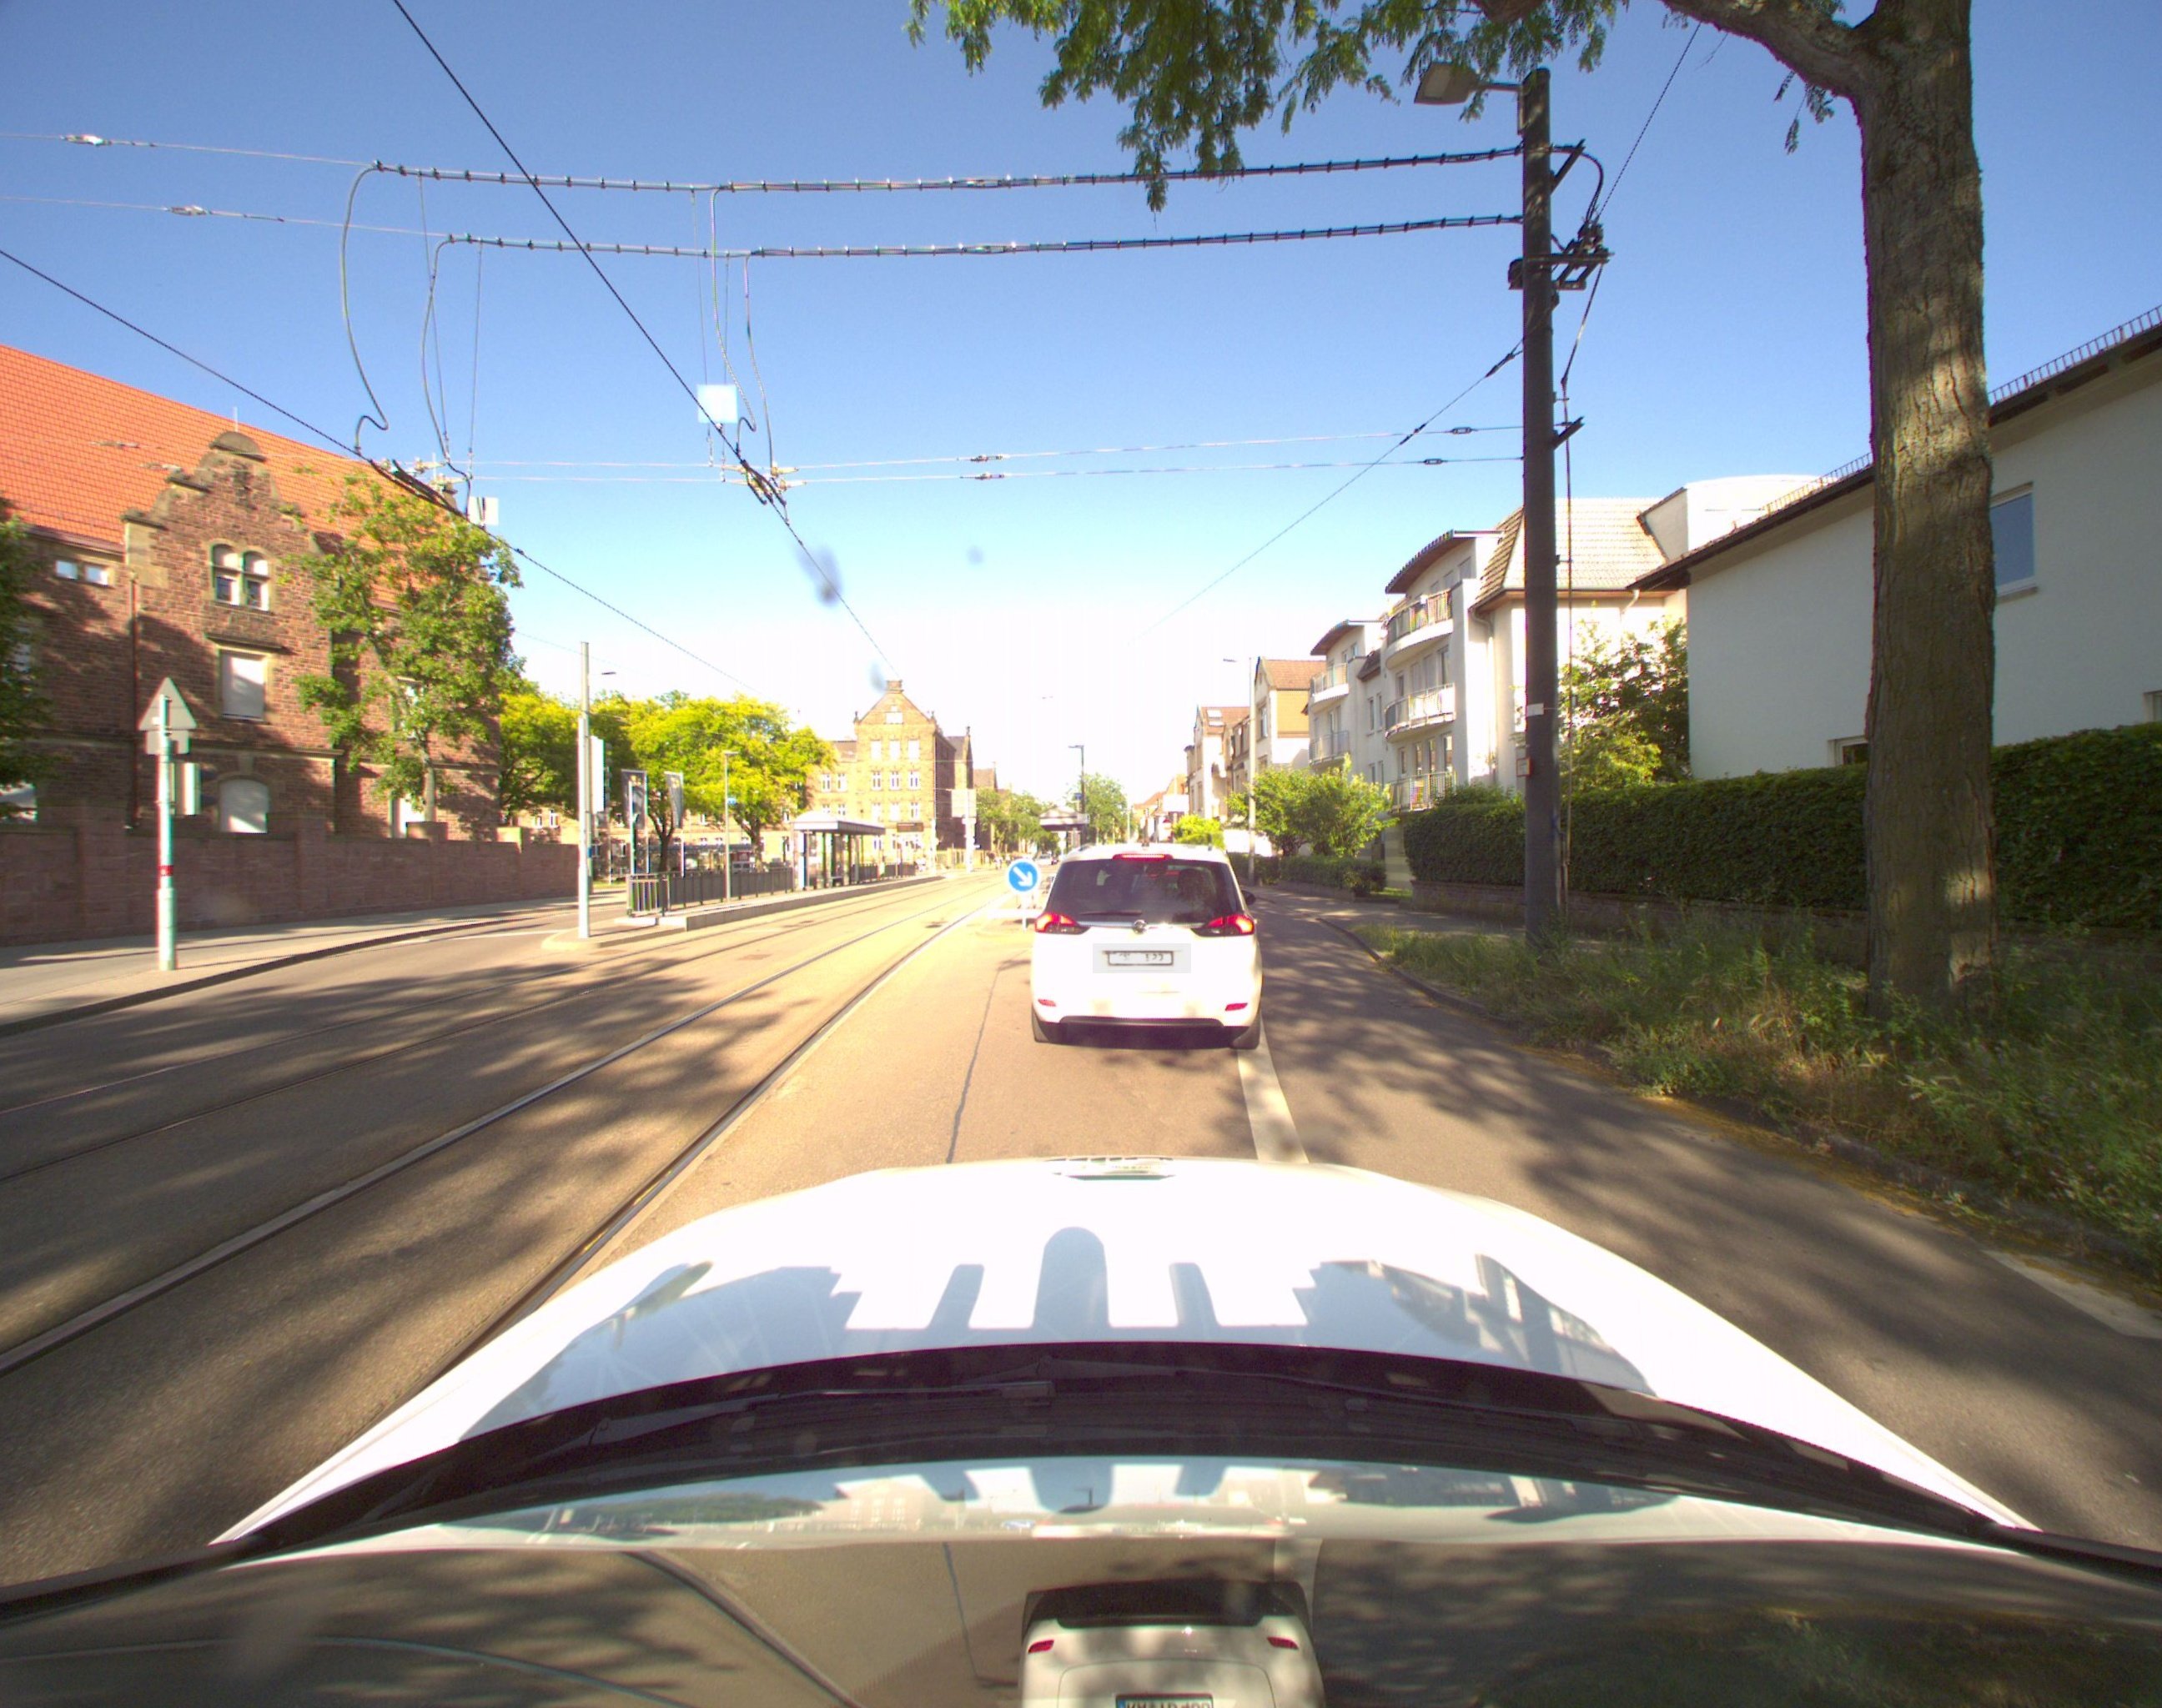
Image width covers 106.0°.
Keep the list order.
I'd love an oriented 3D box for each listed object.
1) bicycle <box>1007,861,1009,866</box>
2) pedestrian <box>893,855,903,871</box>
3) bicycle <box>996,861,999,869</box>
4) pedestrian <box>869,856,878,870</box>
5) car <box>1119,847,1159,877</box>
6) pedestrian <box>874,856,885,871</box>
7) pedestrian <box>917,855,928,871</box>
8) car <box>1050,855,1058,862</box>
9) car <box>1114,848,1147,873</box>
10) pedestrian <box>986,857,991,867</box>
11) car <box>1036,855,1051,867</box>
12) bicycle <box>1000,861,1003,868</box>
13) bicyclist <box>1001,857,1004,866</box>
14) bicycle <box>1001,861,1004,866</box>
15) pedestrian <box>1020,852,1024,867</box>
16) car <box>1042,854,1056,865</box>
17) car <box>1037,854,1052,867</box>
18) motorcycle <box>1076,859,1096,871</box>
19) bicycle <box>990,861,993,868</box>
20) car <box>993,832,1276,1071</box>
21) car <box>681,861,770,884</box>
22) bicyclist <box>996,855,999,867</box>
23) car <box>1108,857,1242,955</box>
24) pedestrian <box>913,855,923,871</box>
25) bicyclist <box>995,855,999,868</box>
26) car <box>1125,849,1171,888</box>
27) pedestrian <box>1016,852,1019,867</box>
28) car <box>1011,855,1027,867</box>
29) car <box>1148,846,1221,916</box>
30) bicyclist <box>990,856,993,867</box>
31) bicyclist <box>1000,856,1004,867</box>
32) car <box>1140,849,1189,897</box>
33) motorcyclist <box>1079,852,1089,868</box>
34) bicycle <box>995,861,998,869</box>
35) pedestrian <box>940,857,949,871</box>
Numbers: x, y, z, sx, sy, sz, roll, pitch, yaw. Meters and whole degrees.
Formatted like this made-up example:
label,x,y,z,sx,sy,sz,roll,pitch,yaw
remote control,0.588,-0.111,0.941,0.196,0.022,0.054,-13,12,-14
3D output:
label,x,y,z,sx,sy,sz,roll,pitch,yaw
bicycle,-10.404,1.400,116.073,0.343,0.725,0.996,0,-1,-1
pedestrian,-19.333,0.949,86.160,0.799,1.588,0.934,0,-1,-1
bicycle,-10.998,1.437,107.069,0.343,0.950,0.996,0,-1,-1
pedestrian,-22.820,1.003,89.589,0.930,1.588,0.803,0,-1,-6
car,3.130,0.409,44.379,1.986,1.503,4.002,-1,0,2
pedestrian,-22.339,1.073,90.255,0.809,1.588,0.923,0,-1,-42
pedestrian,-16.600,0.944,85.272,0.892,1.684,1.029,0,-1,1
car,-7.172,1.160,216.346,1.987,1.863,4.000,0,-1,0
car,3.105,0.380,51.846,1.986,1.503,4.002,-1,0,2
pedestrian,-15.313,1.358,134.720,0.733,1.714,0.753,0,-1,-4
car,-5.291,0.944,114.748,1.989,1.629,3.996,-1,0,-3
bicycle,-10.655,1.455,109.612,0.343,0.950,0.996,0,-1,-1
bicyclist,-11.125,1.107,115.894,0.343,1.320,0.404,0,-1,-2
bicycle,-11.121,1.402,115.884,0.343,0.725,0.996,0,-1,-1
pedestrian,-8.143,0.764,112.655,0.443,2.013,0.495,-1,0,-2
car,-5.124,0.898,130.995,1.987,1.629,4.000,-1,0,0
car,-4.810,0.884,107.625,1.989,1.629,3.996,-1,0,-3
motorcycle,0.546,1.155,86.221,2.082,1.198,0.607,-1,0,-31
bicycle,-12.672,1.518,115.640,0.343,0.950,0.996,0,-1,-1
car,0.645,0.682,7.707,1.982,1.644,4.003,0,0,8
car,-32.956,1.694,75.705,6.926,1.921,2.992,-1,0,0
bicyclist,-10.973,0.970,107.028,0.443,1.553,0.495,-1,0,-2
car,1.533,0.789,14.069,1.944,1.397,4.005,-1,0,4
pedestrian,-17.284,0.966,86.532,0.839,1.691,1.029,0,-1,1
bicyclist,-10.701,0.940,103.738,0.443,1.553,0.742,-1,0,-2
car,2.933,0.607,36.253,1.824,1.579,4.012,-1,0,2
pedestrian,-8.763,0.766,112.361,0.443,2.013,0.495,-1,0,-2
car,-8.186,0.916,107.484,1.989,1.629,3.996,-1,0,-3
car,2.575,0.635,20.897,1.630,1.601,3.859,-1,0,4
bicyclist,-12.678,1.050,115.606,0.443,1.553,0.495,-1,0,-2
bicyclist,-10.656,0.988,109.607,0.443,1.553,0.495,-1,0,-2
car,2.946,0.631,29.323,1.630,1.601,3.859,-1,0,4
motorcyclist,0.364,0.654,86.114,0.847,1.621,0.609,-1,0,-31
bicycle,-10.709,1.407,103.527,0.343,0.950,1.160,0,-1,-1
pedestrian,-16.179,1.199,96.540,0.728,1.714,0.710,-1,-1,24
